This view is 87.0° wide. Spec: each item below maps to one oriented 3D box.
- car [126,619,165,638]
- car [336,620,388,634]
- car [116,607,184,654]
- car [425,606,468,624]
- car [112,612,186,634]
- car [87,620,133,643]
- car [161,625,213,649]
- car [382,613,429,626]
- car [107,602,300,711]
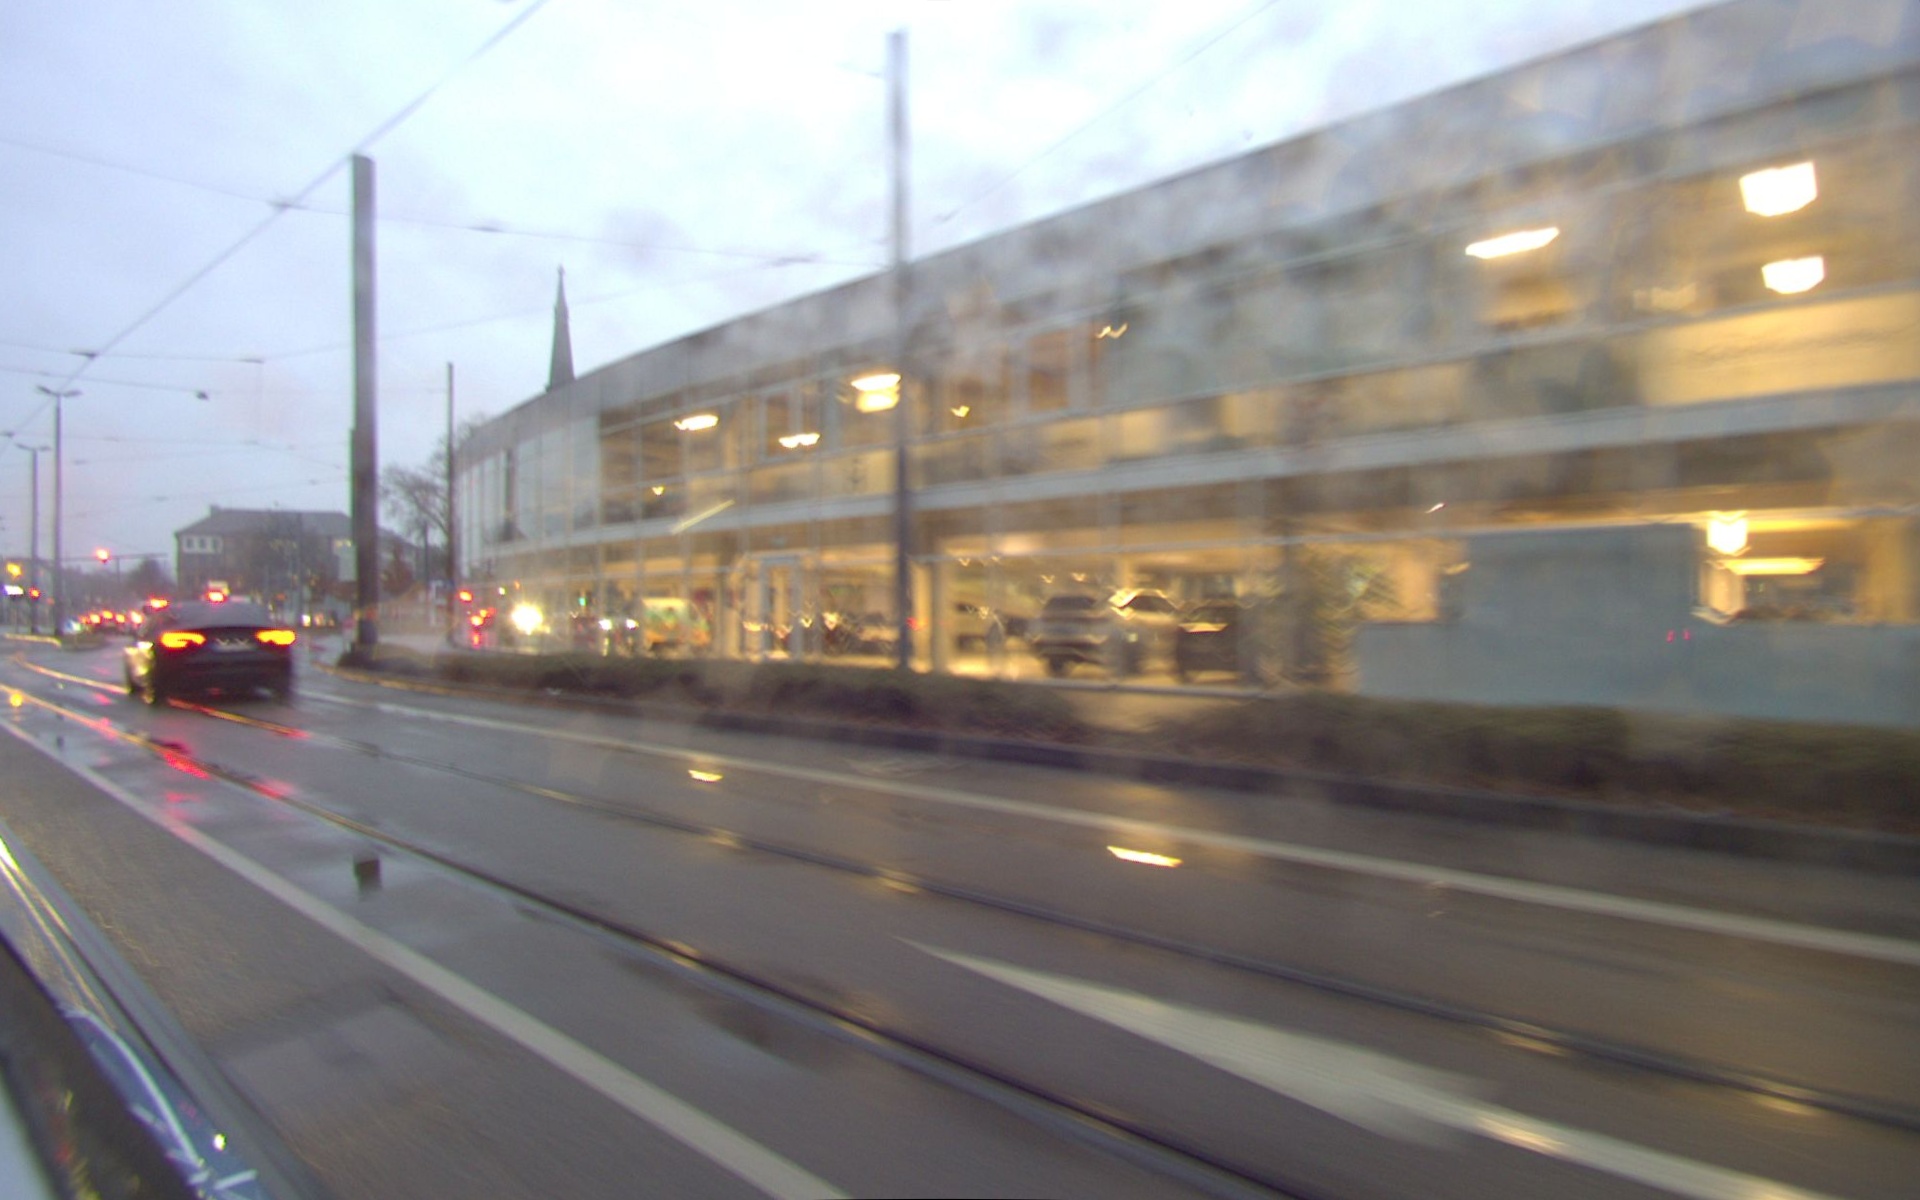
[{"bbox_3d":[-60.133,2.076,74.693,4.000,1.368,1.705,-1,-1,43],"label":"car"},{"bbox_3d":[-59.007,2.684,99.881,3.949,1.320,1.997,0,0,5],"label":"car"},{"bbox_3d":[-37.581,1.349,46.923,1.971,2.029,4.687,0,0,-45],"label":"car"},{"bbox_3d":[-58.433,1.727,115.267,3.949,2.029,1.997,0,0,5],"label":"car"},{"bbox_3d":[-77.025,2.159,96.174,5.466,2.029,2.003,0,0,-41],"label":"car"},{"bbox_3d":[-55.660,2.064,66.236,4.001,1.401,1.850,-1,-3,44],"label":"car"},{"bbox_3d":[-49.471,2.354,64.743,4.589,1.432,1.971,-1,-1,44],"label":"car"},{"bbox_3d":[-58.498,2.097,106.856,3.949,1.320,1.997,0,0,5],"label":"car"},{"bbox_3d":[-12.747,0.859,16.948,4.442,1.590,1.821,-1,-1,43],"label":"car"}]
